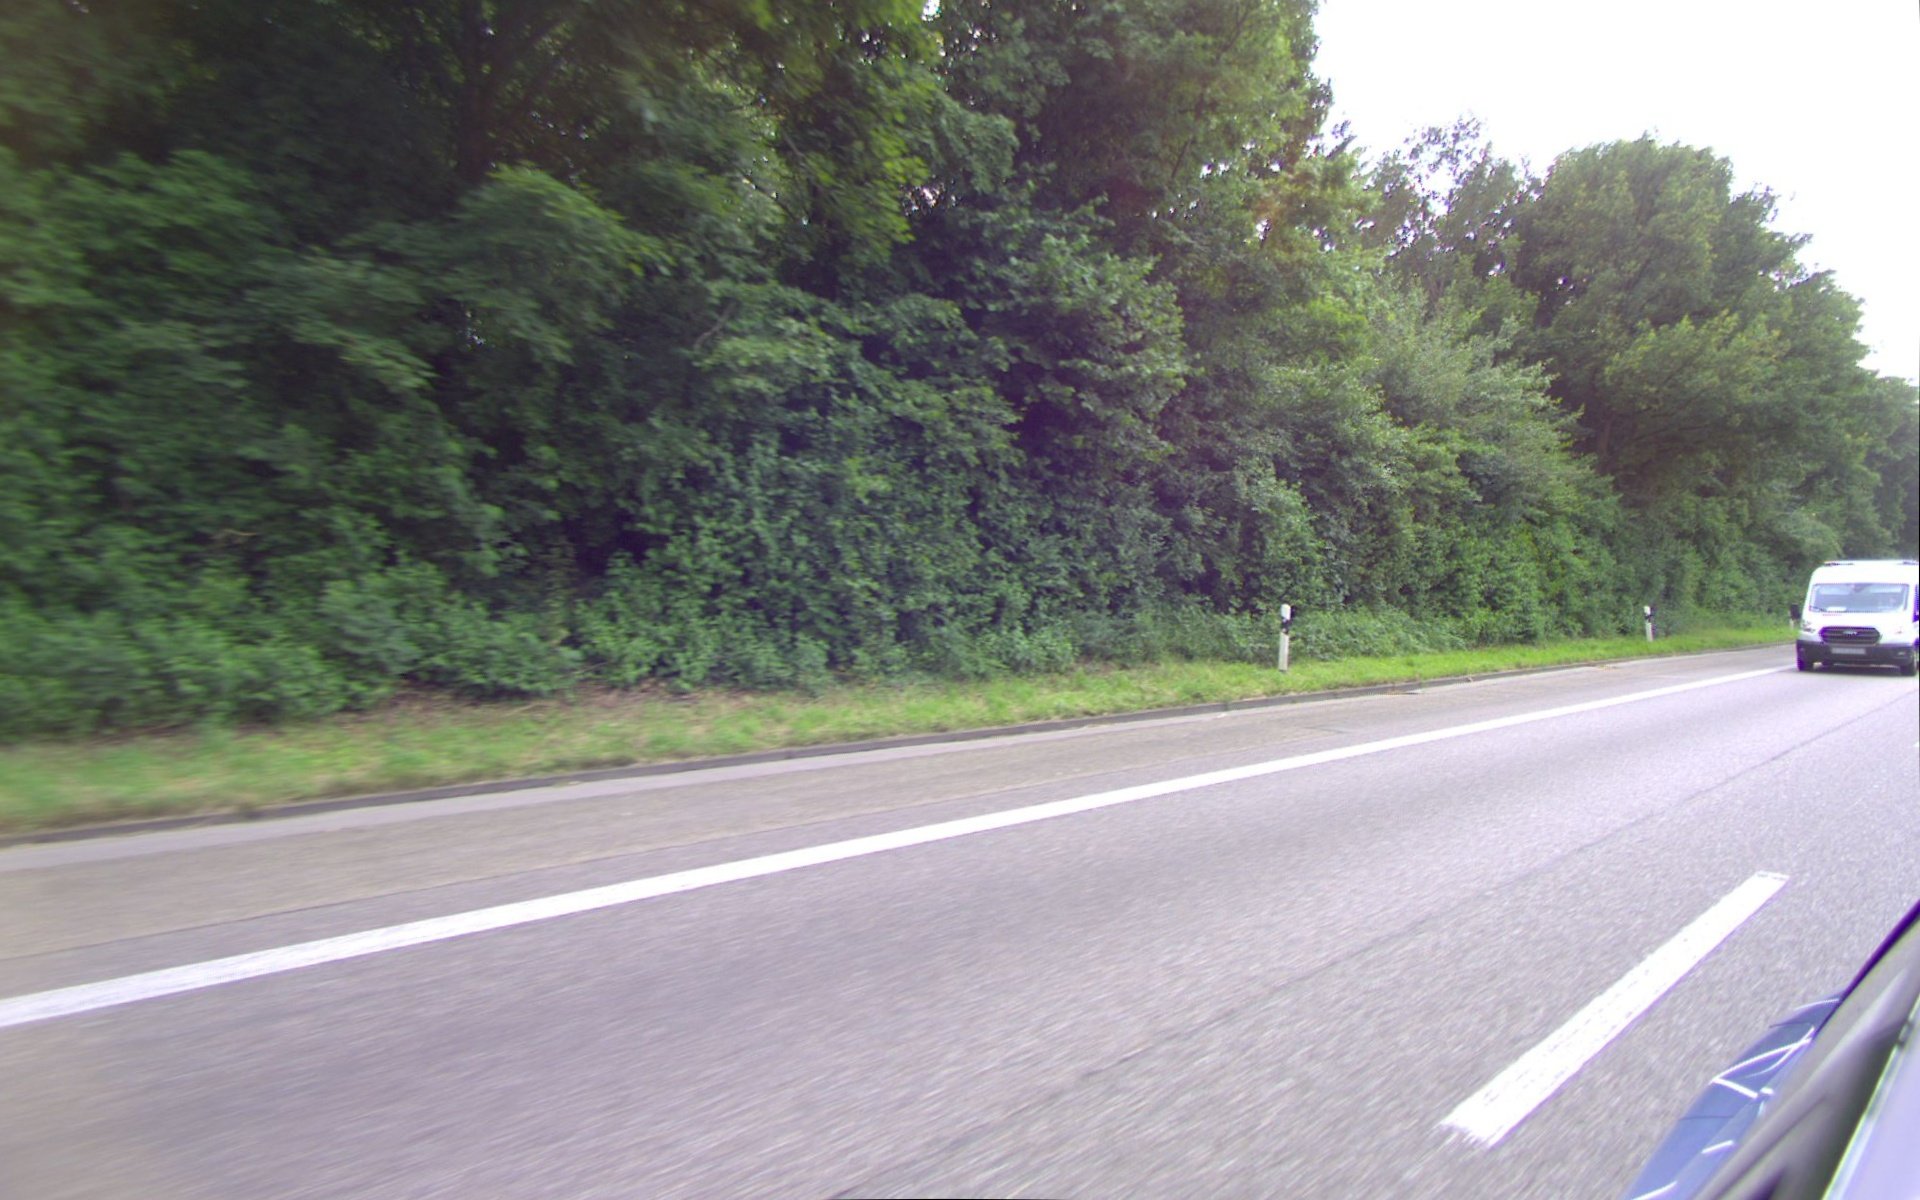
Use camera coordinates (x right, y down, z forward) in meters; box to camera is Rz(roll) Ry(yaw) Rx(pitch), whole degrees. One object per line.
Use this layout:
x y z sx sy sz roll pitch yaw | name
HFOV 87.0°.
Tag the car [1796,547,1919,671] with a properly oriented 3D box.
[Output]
21.126 0.184 23.300 5.187 2.539 2.102 0 0 -41 | car
